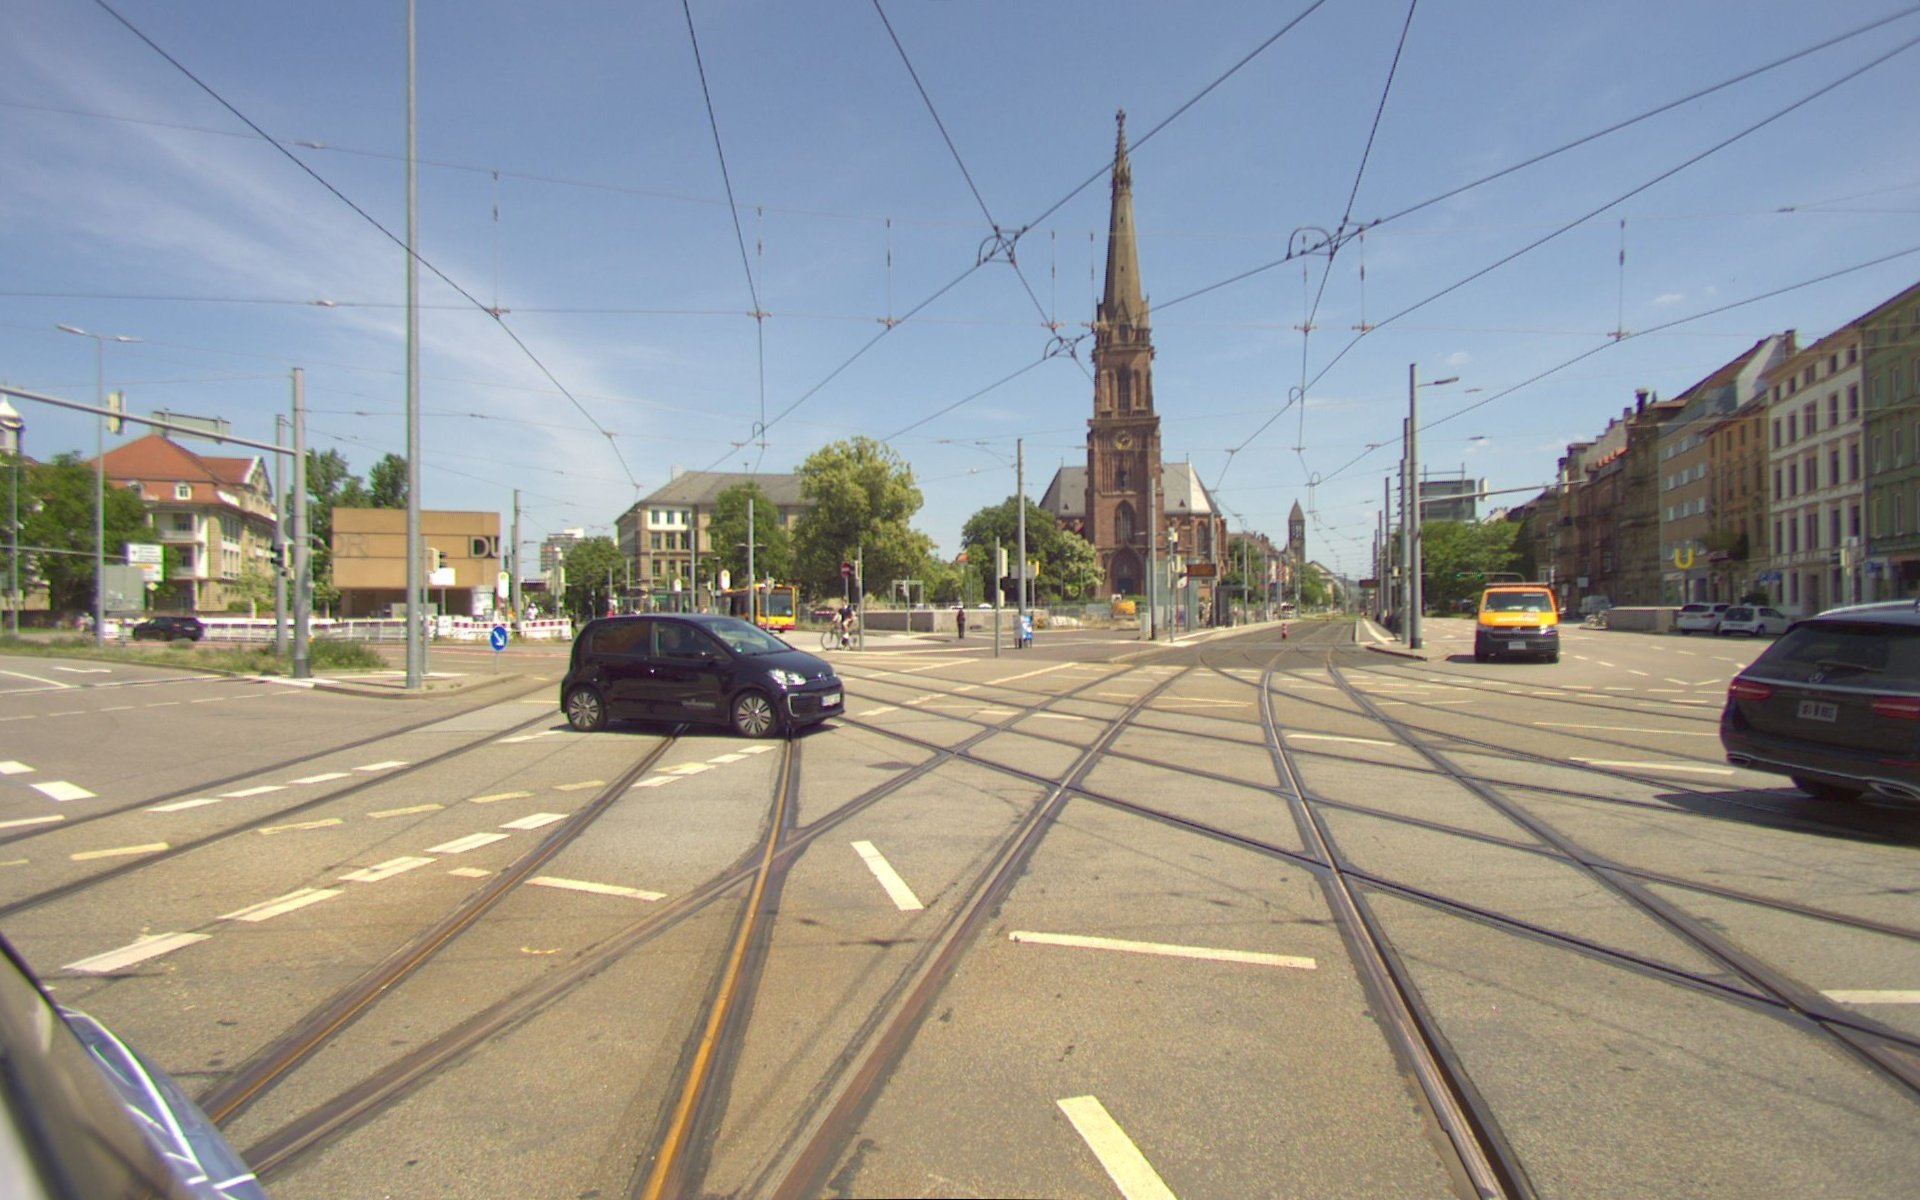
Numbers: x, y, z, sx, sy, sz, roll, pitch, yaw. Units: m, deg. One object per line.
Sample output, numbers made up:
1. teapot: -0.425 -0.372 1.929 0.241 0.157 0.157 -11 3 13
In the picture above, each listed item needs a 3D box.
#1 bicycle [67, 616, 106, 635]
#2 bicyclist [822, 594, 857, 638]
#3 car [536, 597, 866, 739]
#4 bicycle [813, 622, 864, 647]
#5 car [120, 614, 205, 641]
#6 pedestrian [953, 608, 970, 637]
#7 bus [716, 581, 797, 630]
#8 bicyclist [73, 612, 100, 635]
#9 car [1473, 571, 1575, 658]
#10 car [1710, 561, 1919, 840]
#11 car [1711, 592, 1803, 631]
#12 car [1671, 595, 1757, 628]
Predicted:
1. bicycle: -51.194 1.508 59.324 2.218 1.080 0.872 -1 2 24
2. bicyclist: -4.357 0.566 36.566 0.438 1.540 1.237 0 2 41
3. car: -3.236 0.796 12.772 3.708 1.588 1.738 -1 -1 19
4. bicycle: -4.377 1.236 36.550 0.628 0.861 1.874 -1 -1 42
5. car: -45.570 1.555 57.814 4.821 1.476 1.982 -1 0 27
6. pedestrian: 0.060 1.070 48.668 0.518 1.344 1.001 -1 -1 -19
7. bus: -13.922 0.403 68.194 2.807 3.039 12.260 -1 0 -23
8. bicyclist: -51.259 1.376 59.394 1.431 1.366 0.582 -1 2 24
9. car: 15.007 0.355 26.798 1.994 2.073 4.816 -1 -1 33
10. car: 7.989 0.516 6.784 4.730 1.652 1.806 -2 1 -6
11. car: 37.744 0.524 47.912 3.931 1.763 1.844 -1 -1 -26
12. car: 37.830 0.564 50.769 3.931 1.521 1.844 -1 -1 -26
